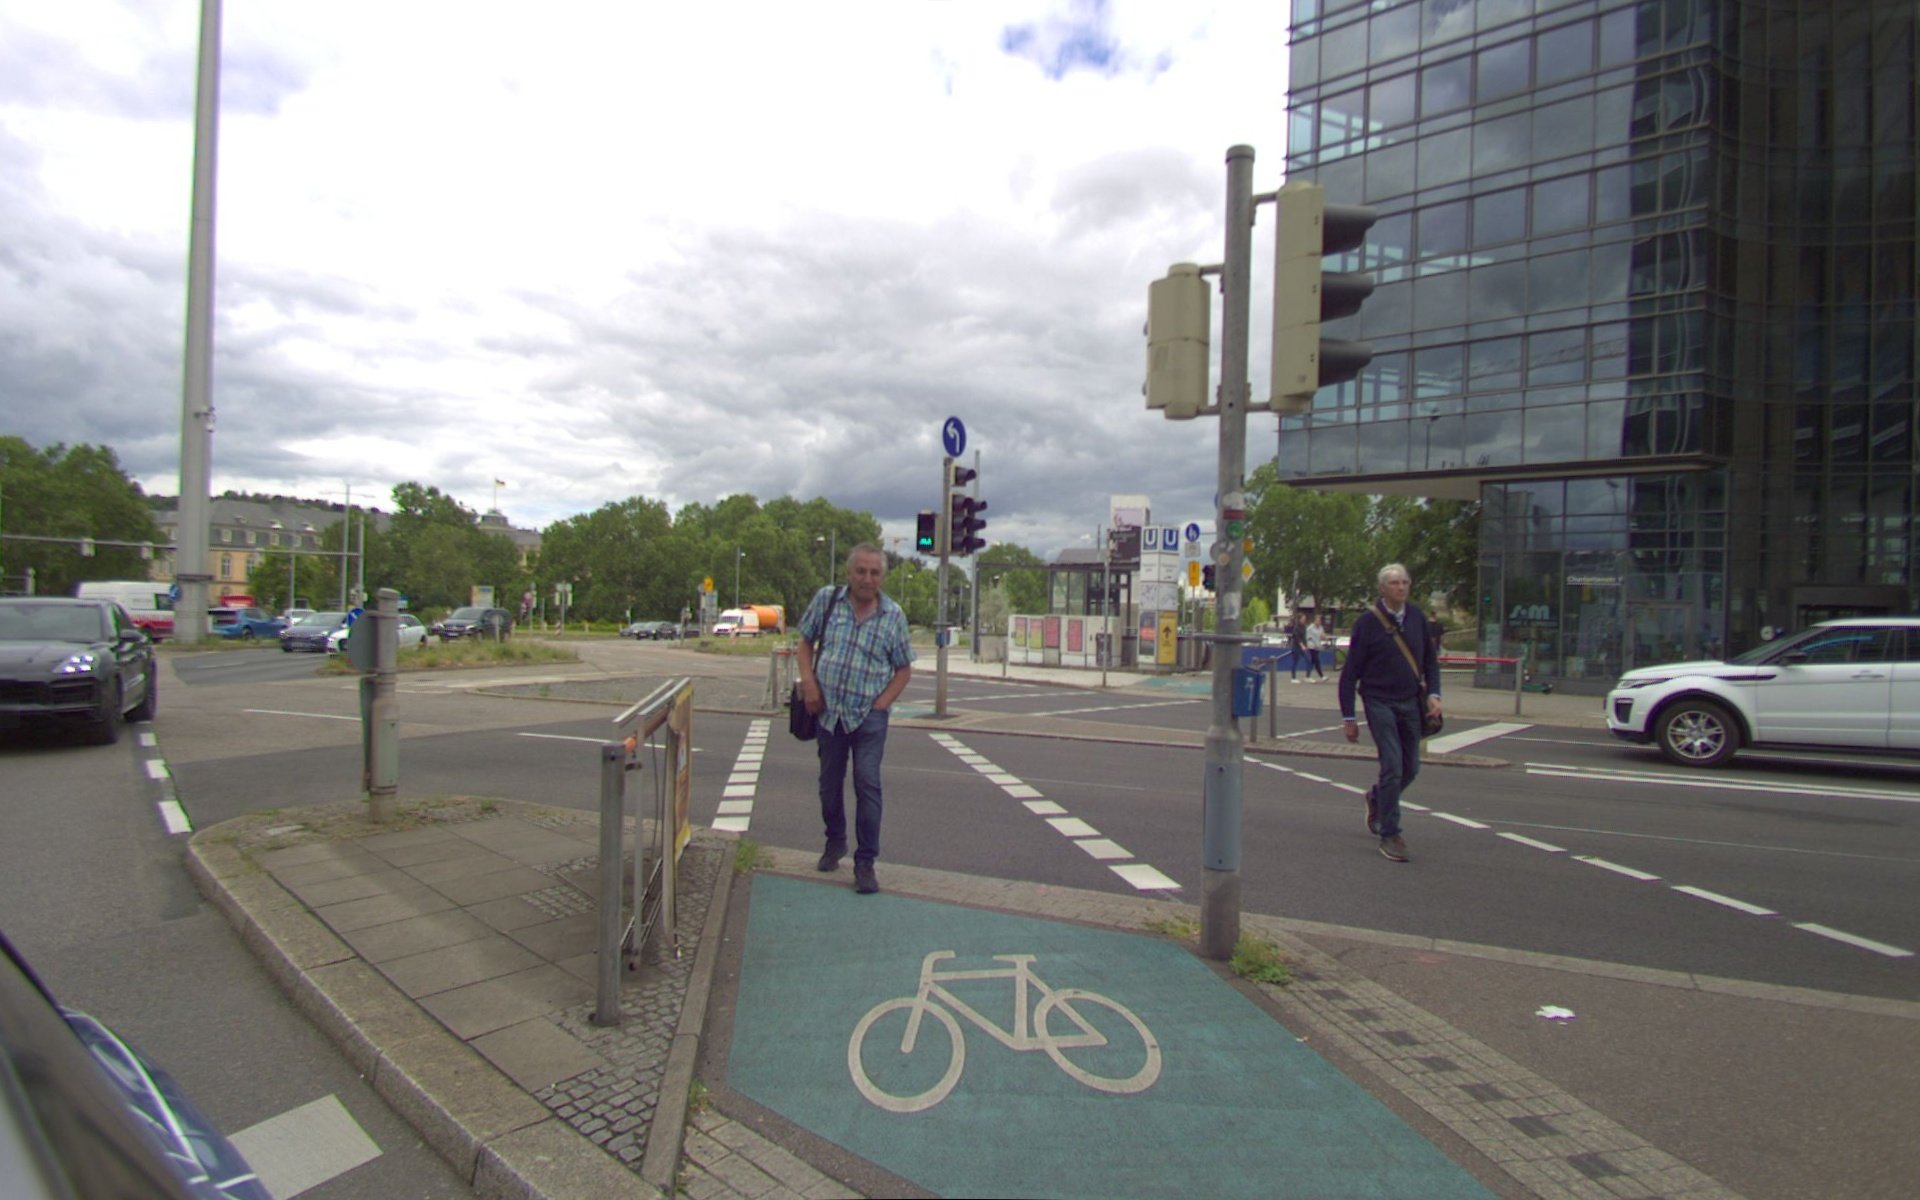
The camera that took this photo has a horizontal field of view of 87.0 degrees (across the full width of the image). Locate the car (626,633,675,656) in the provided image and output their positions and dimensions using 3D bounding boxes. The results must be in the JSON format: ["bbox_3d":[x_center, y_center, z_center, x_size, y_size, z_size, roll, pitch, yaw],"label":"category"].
[{"bbox_3d":[-23.678,3.392,77.525,1.844,1.752,3.720,0,-2,16],"label":"car"}]

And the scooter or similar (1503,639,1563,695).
[{"bbox_3d":[13.058,1.515,23.091,0.525,1.217,1.386,0,-1,-2],"label":"scooter or similar"}]

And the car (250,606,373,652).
[{"bbox_3d":[-23.984,1.072,37.634,1.973,1.613,3.998,0,-1,1],"label":"car"}]

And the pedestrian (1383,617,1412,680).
[{"bbox_3d":[12.163,1.331,28.157,0.630,1.713,0.636,-1,-2,34],"label":"pedestrian"}]

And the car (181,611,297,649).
[{"bbox_3d":[-30.542,1.262,43.051,1.919,1.494,4.632,-1,-1,-5],"label":"car"}]

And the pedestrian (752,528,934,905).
[{"bbox_3d":[-0.595,0.583,5.333,0.632,1.804,0.710,-2,-6,29],"label":"pedestrian"}]

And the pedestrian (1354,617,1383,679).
[{"bbox_3d":[11.493,1.329,28.460,0.630,1.713,0.761,-1,-2,34],"label":"pedestrian"}]

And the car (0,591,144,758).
[{"bbox_3d":[-11.051,0.720,11.953,1.973,1.650,5.032,0,1,-36],"label":"car"}]

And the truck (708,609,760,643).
[{"bbox_3d":[-19.037,2.220,85.602,1.937,2.805,5.764,0,-2,13],"label":"truck"}]

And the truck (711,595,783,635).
[{"bbox_3d":[-20.368,1.536,97.584,2.705,3.644,9.126,0,-2,17],"label":"truck"}]

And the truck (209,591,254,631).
[{"bbox_3d":[-67.541,1.105,93.811,2.748,3.516,8.364,2,-3,-39],"label":"truck"}]

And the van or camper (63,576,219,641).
[{"bbox_3d":[-34.236,0.387,42.603,2.113,2.496,6.170,0,-1,-7],"label":"van or camper"}]

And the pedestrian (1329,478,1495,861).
[{"bbox_3d":[2.771,0.401,6.304,0.755,2.189,0.876,0,-2,11],"label":"pedestrian"}]

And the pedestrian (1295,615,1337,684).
[{"bbox_3d":[8.882,1.220,25.281,0.596,1.643,0.788,-2,3,-37],"label":"pedestrian"}]

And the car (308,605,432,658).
[{"bbox_3d":[-19.778,1.056,34.151,2.064,1.621,4.419,-2,-2,-8],"label":"car"}]

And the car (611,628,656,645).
[{"bbox_3d":[-27.318,3.041,84.859,1.763,1.283,3.833,0,-1,17],"label":"car"}]

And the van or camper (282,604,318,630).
[{"bbox_3d":[-51.402,1.311,78.793,1.836,1.931,4.722,2,-2,-39],"label":"van or camper"}]

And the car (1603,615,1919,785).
[{"bbox_3d":[9.313,0.973,10.535,4.311,1.611,1.718,-1,-2,37],"label":"car"}]

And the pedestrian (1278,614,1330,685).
[{"bbox_3d":[8.292,1.173,24.410,0.644,1.625,0.968,1,1,-37],"label":"pedestrian"}]

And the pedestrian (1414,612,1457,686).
[{"bbox_3d":[12.004,1.220,25.587,0.688,1.824,0.931,0,-1,4],"label":"pedestrian"}]

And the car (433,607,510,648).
[{"bbox_3d":[-25.123,1.417,52.223,1.833,2.003,4.644,2,-2,-3],"label":"car"}]
